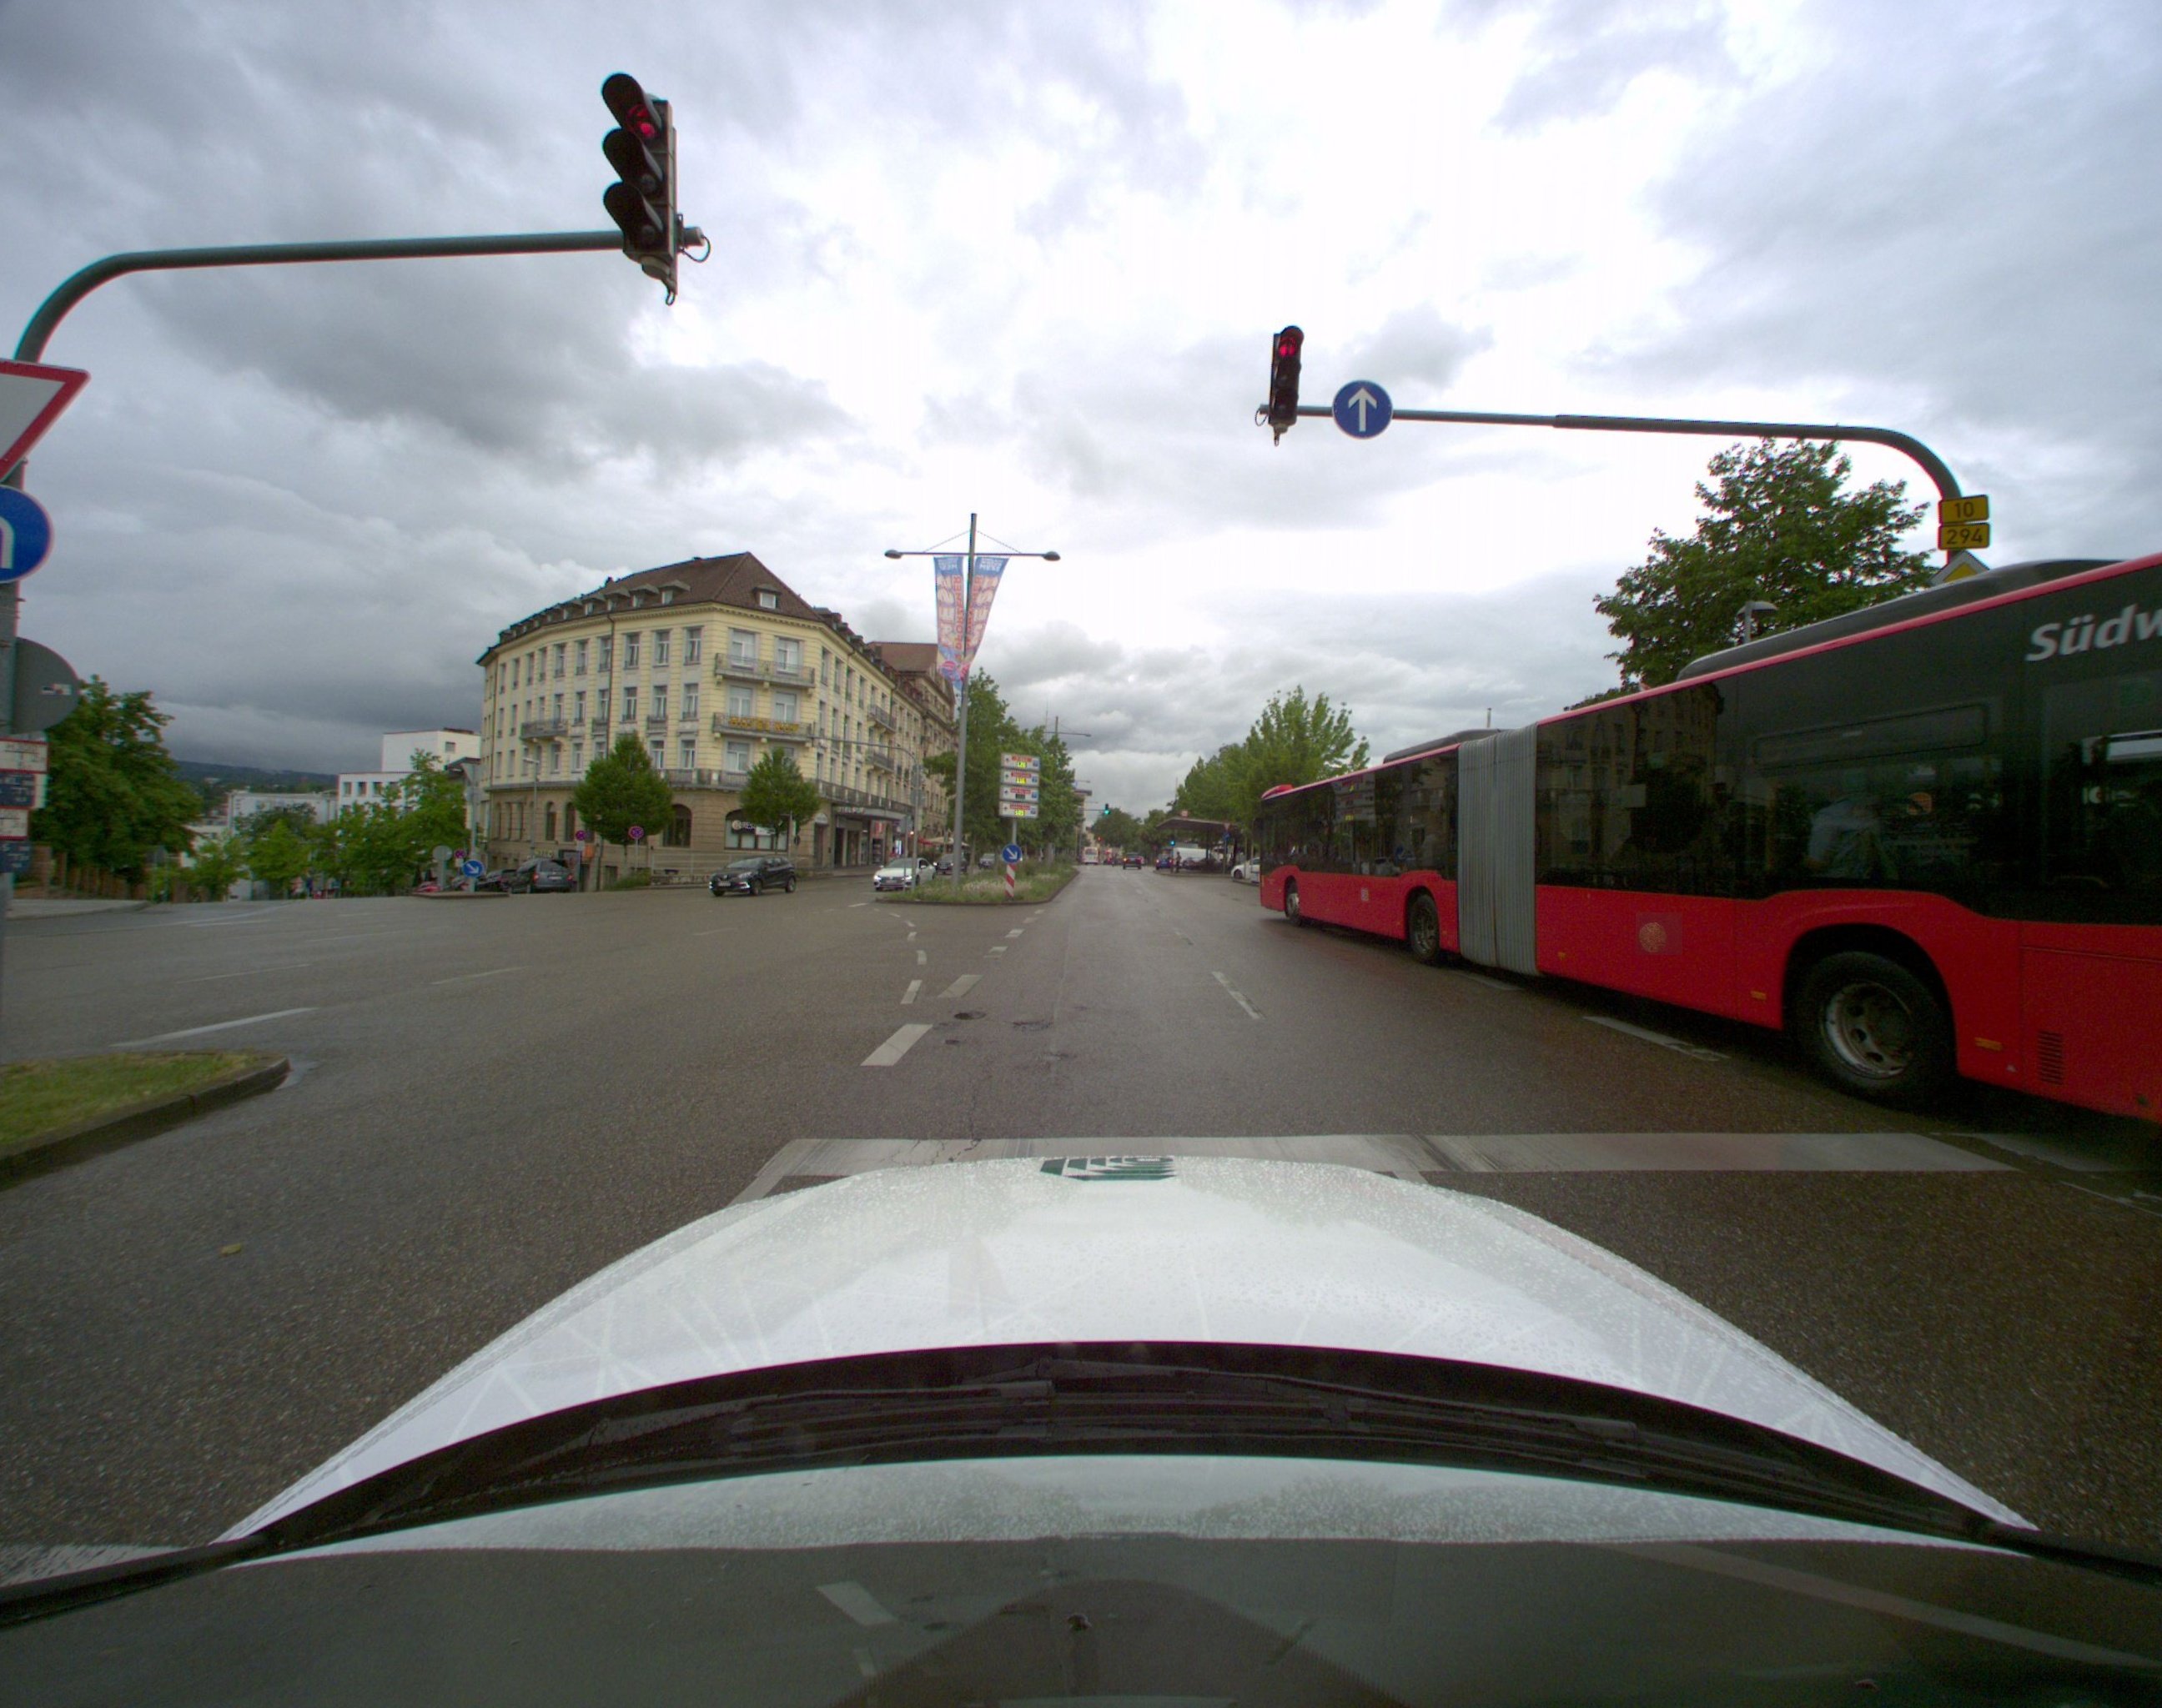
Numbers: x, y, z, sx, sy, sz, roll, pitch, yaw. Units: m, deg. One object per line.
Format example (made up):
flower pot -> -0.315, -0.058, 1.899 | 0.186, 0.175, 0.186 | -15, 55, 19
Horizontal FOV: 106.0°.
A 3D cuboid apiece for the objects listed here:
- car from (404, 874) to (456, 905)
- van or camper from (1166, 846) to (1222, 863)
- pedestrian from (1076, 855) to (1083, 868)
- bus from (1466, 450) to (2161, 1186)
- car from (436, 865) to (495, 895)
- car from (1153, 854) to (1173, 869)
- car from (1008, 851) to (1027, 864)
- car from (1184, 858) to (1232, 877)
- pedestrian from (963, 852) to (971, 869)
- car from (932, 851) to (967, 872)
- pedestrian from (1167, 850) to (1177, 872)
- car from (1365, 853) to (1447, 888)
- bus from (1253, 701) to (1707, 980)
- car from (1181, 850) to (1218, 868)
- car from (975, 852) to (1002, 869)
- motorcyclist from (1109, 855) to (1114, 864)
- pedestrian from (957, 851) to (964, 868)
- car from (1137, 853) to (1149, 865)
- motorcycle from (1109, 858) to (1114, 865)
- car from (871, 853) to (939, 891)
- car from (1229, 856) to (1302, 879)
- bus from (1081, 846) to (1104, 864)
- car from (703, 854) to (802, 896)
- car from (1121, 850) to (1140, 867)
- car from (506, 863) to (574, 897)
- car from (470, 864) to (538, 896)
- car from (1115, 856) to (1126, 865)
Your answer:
car -> -41.187, 2.210, 51.480 | 3.575, 1.812, 1.788 | 0, 0, 38
van or camper -> 14.289, 0.093, 102.707 | 6.787, 2.014, 2.366 | 0, -1, -25
pedestrian -> -0.142, 0.902, 101.782 | 0.754, 1.639, 0.561 | 0, 0, 8
bus -> 5.987, -0.152, 5.590 | 2.735, 3.174, 8.116 | 0, 0, -1
car -> -36.311, 1.494, 48.020 | 3.864, 1.640, 1.805 | 0, 0, 37
car -> 8.562, 0.765, 85.362 | 1.809, 1.530, 4.001 | 0, 0, 2
car -> -7.918, 0.450, 101.546 | 1.747, 1.369, 4.066 | 0, 3, 4
car -> 12.824, 1.395, 82.124 | 4.348, 1.857, 1.988 | 0, 0, -18
pedestrian -> -11.383, 0.642, 81.497 | 0.672, 1.701, 0.634 | 0, 0, 1
car -> -9.291, 0.511, 57.861 | 1.623, 1.476, 4.030 | 0, 0, 4
pedestrian -> 7.433, 0.605, 66.541 | 0.717, 1.791, 0.663 | 0, 0, -10
car -> 14.885, 0.718, 37.587 | 1.907, 1.524, 4.741 | 0, 0, 0
bus -> 5.671, -0.147, 14.435 | 2.736, 3.174, 10.185 | 0, 0, -2
car -> 14.027, 0.599, 96.491 | 3.998, 2.014, 1.988 | 0, 0, -18
car -> -8.505, 0.590, 75.112 | 1.747, 1.441, 4.064 | 0, 0, 4
motorcyclist -> 4.472, 0.757, 118.999 | 0.761, 1.331, 0.867 | 0, 0, 2
pedestrian -> -12.060, 0.538, 81.450 | 0.573, 1.732, 0.609 | 0, 0, 1
car -> 10.039, 0.757, 132.636 | 1.781, 1.860, 4.001 | 0, 0, 2
motorcycle -> 4.481, 1.109, 118.922 | 0.763, 1.077, 2.176 | 0, 0, 2
car -> -7.817, 0.744, 36.642 | 1.717, 1.381, 4.866 | 0, 2, 4
car -> 11.487, 0.793, 50.930 | 1.788, 1.385, 4.318 | 0, 0, -39
bus -> 2.297, 0.254, 154.675 | 3.744, 3.209, 15.540 | 0, 0, 3
car -> -12.909, 0.773, 32.268 | 1.761, 1.530, 4.088 | 1, 0, 8
car -> 5.486, 0.446, 90.479 | 1.986, 1.806, 4.691 | 0, 0, 2
car -> -27.100, 1.274, 40.757 | 3.949, 1.568, 1.812 | 0, 0, 41
car -> -31.969, 1.418, 45.098 | 3.948, 1.640, 2.013 | -1, -1, 37
car -> 6.512, 1.131, 135.454 | 1.702, 1.448, 4.001 | 0, 0, 2
